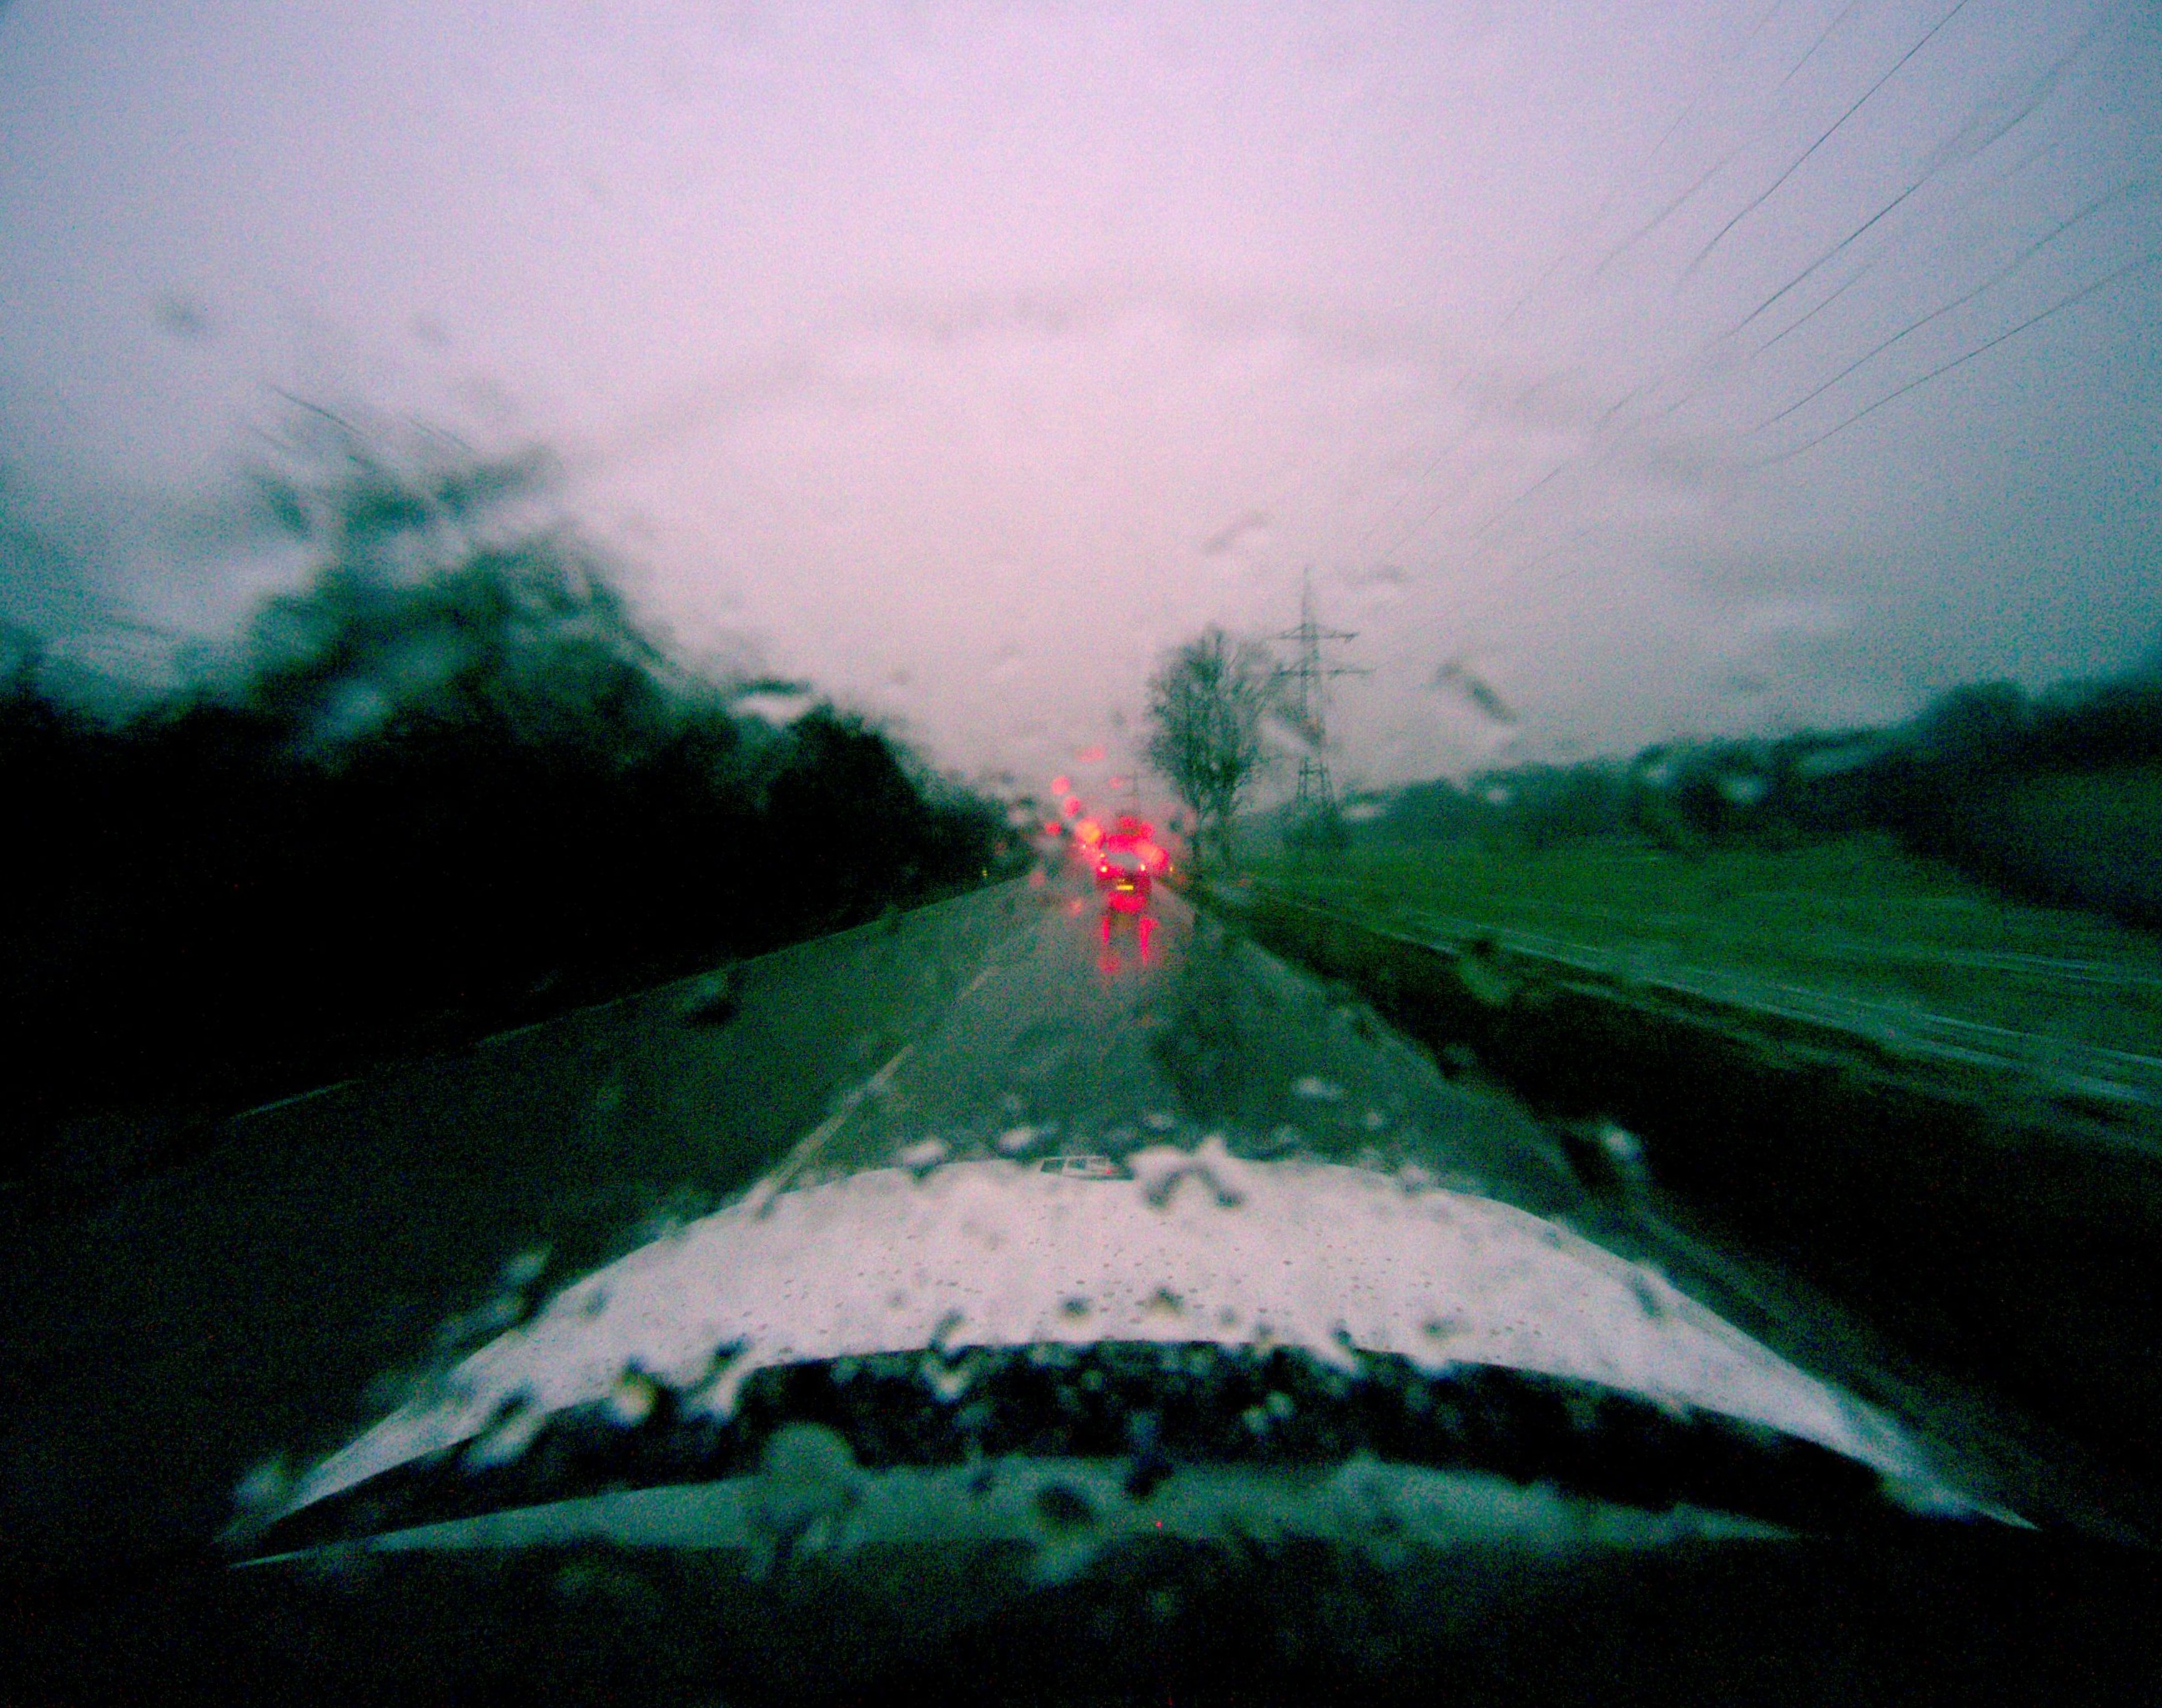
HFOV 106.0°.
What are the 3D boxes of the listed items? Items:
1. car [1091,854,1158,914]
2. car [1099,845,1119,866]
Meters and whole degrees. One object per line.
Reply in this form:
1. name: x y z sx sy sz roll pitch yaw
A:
1. car: 1.394 0.915 26.719 1.986 1.752 4.002 -2 0 2
2. car: 2.855 0.126 83.300 1.986 2.013 4.003 0 3 1
